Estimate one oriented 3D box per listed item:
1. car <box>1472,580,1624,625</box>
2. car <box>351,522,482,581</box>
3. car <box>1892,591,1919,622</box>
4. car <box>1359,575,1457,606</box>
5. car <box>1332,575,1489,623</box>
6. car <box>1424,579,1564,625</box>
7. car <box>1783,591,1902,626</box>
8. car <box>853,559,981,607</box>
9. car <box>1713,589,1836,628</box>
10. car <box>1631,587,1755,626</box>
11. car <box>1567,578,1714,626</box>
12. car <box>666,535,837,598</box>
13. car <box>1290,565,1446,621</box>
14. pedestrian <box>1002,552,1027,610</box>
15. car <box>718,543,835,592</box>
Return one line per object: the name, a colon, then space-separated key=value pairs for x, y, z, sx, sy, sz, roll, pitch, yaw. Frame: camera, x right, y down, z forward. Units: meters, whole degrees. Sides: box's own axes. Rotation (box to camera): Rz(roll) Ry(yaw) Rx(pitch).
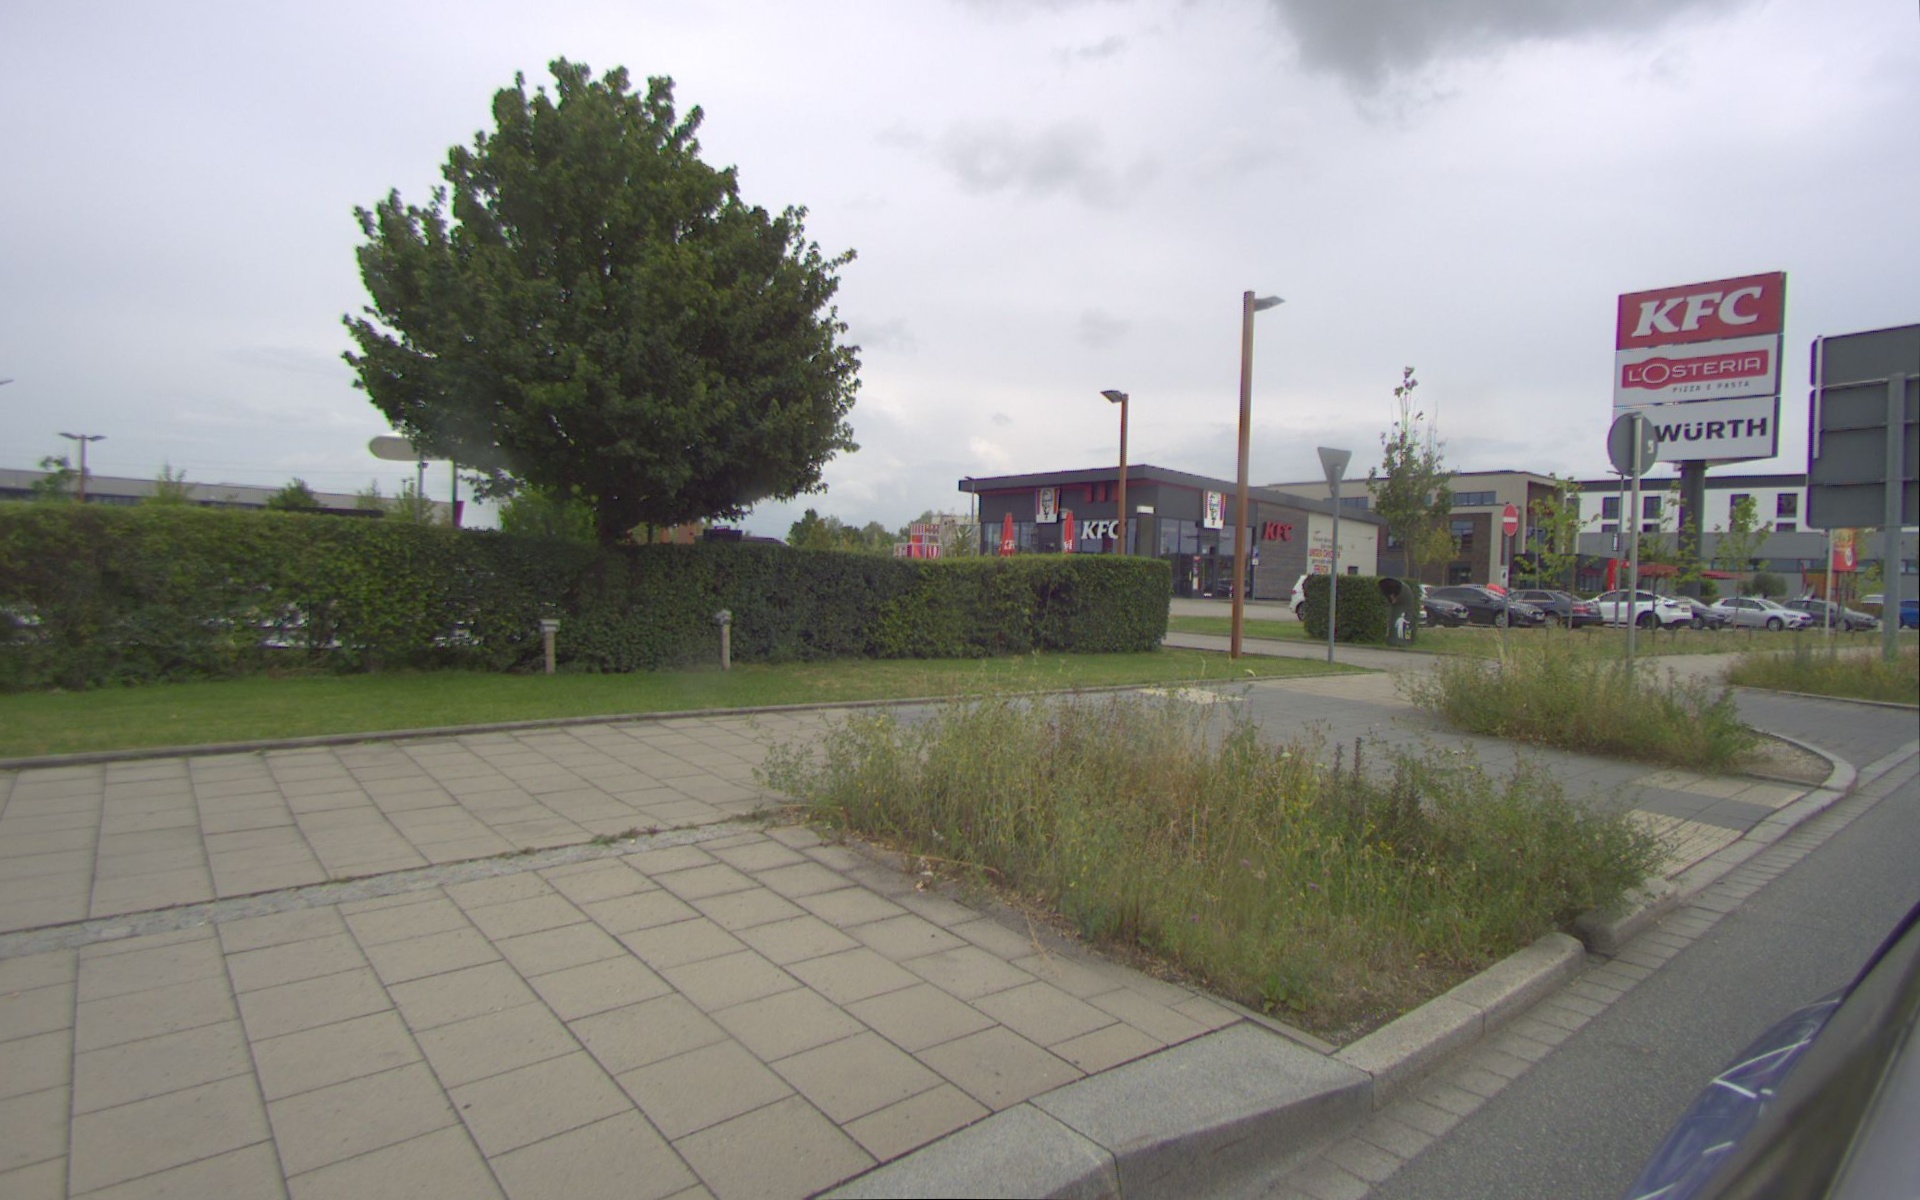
car: x=22.208 y=0.072 z=38.397 sx=1.992 sy=1.487 sz=4.536 roll=1 pitch=2 yaw=-32
car: x=-25.610 y=-2.223 z=48.039 sx=2.245 sy=2.560 sz=6.031 roll=2 pitch=1 yaw=10
car: x=50.292 y=0.397 z=51.153 sx=1.924 sy=1.539 sz=4.286 roll=1 pitch=1 yaw=-18
car: x=24.911 y=-0.537 z=56.410 sx=2.042 sy=1.537 sz=4.576 roll=1 pitch=3 yaw=-37
car: x=15.361 y=-0.055 z=34.740 sx=2.034 sy=1.454 sz=4.483 roll=1 pitch=2 yaw=-35
car: x=19.549 y=0.045 z=37.198 sx=1.905 sy=1.456 sz=4.099 roll=1 pitch=2 yaw=-34
car: x=41.398 y=0.374 z=47.567 sx=1.850 sy=1.512 sz=3.779 roll=1 pitch=1 yaw=-21
car: x=-1.431 y=-0.595 z=34.487 sx=4.083 sy=1.447 sz=2.003 roll=2 pitch=1 yaw=7
car: x=36.948 y=0.347 z=46.011 sx=1.862 sy=1.499 sz=3.884 roll=1 pitch=3 yaw=-22
car: x=32.292 y=0.240 z=44.715 sx=1.900 sy=1.503 sz=4.009 roll=0 pitch=2 yaw=-24
car: x=28.112 y=0.046 z=42.002 sx=2.046 sy=1.665 sz=4.585 roll=1 pitch=3 yaw=-28
car: x=-9.313 y=-1.497 z=45.658 sx=7.193 sy=2.533 sz=2.280 roll=2 pitch=1 yaw=3
car: x=13.341 y=-0.264 z=33.315 sx=1.902 sy=1.660 sz=4.359 roll=1 pitch=2 yaw=-38
pedestrian: x=1.733 y=-0.609 z=32.198 sx=0.467 sy=1.828 sz=0.793 roll=2 pitch=1 yaw=28
car: x=-9.747 y=-1.690 z=53.664 sx=5.573 sy=2.380 sz=2.541 roll=1 pitch=1 yaw=-25
